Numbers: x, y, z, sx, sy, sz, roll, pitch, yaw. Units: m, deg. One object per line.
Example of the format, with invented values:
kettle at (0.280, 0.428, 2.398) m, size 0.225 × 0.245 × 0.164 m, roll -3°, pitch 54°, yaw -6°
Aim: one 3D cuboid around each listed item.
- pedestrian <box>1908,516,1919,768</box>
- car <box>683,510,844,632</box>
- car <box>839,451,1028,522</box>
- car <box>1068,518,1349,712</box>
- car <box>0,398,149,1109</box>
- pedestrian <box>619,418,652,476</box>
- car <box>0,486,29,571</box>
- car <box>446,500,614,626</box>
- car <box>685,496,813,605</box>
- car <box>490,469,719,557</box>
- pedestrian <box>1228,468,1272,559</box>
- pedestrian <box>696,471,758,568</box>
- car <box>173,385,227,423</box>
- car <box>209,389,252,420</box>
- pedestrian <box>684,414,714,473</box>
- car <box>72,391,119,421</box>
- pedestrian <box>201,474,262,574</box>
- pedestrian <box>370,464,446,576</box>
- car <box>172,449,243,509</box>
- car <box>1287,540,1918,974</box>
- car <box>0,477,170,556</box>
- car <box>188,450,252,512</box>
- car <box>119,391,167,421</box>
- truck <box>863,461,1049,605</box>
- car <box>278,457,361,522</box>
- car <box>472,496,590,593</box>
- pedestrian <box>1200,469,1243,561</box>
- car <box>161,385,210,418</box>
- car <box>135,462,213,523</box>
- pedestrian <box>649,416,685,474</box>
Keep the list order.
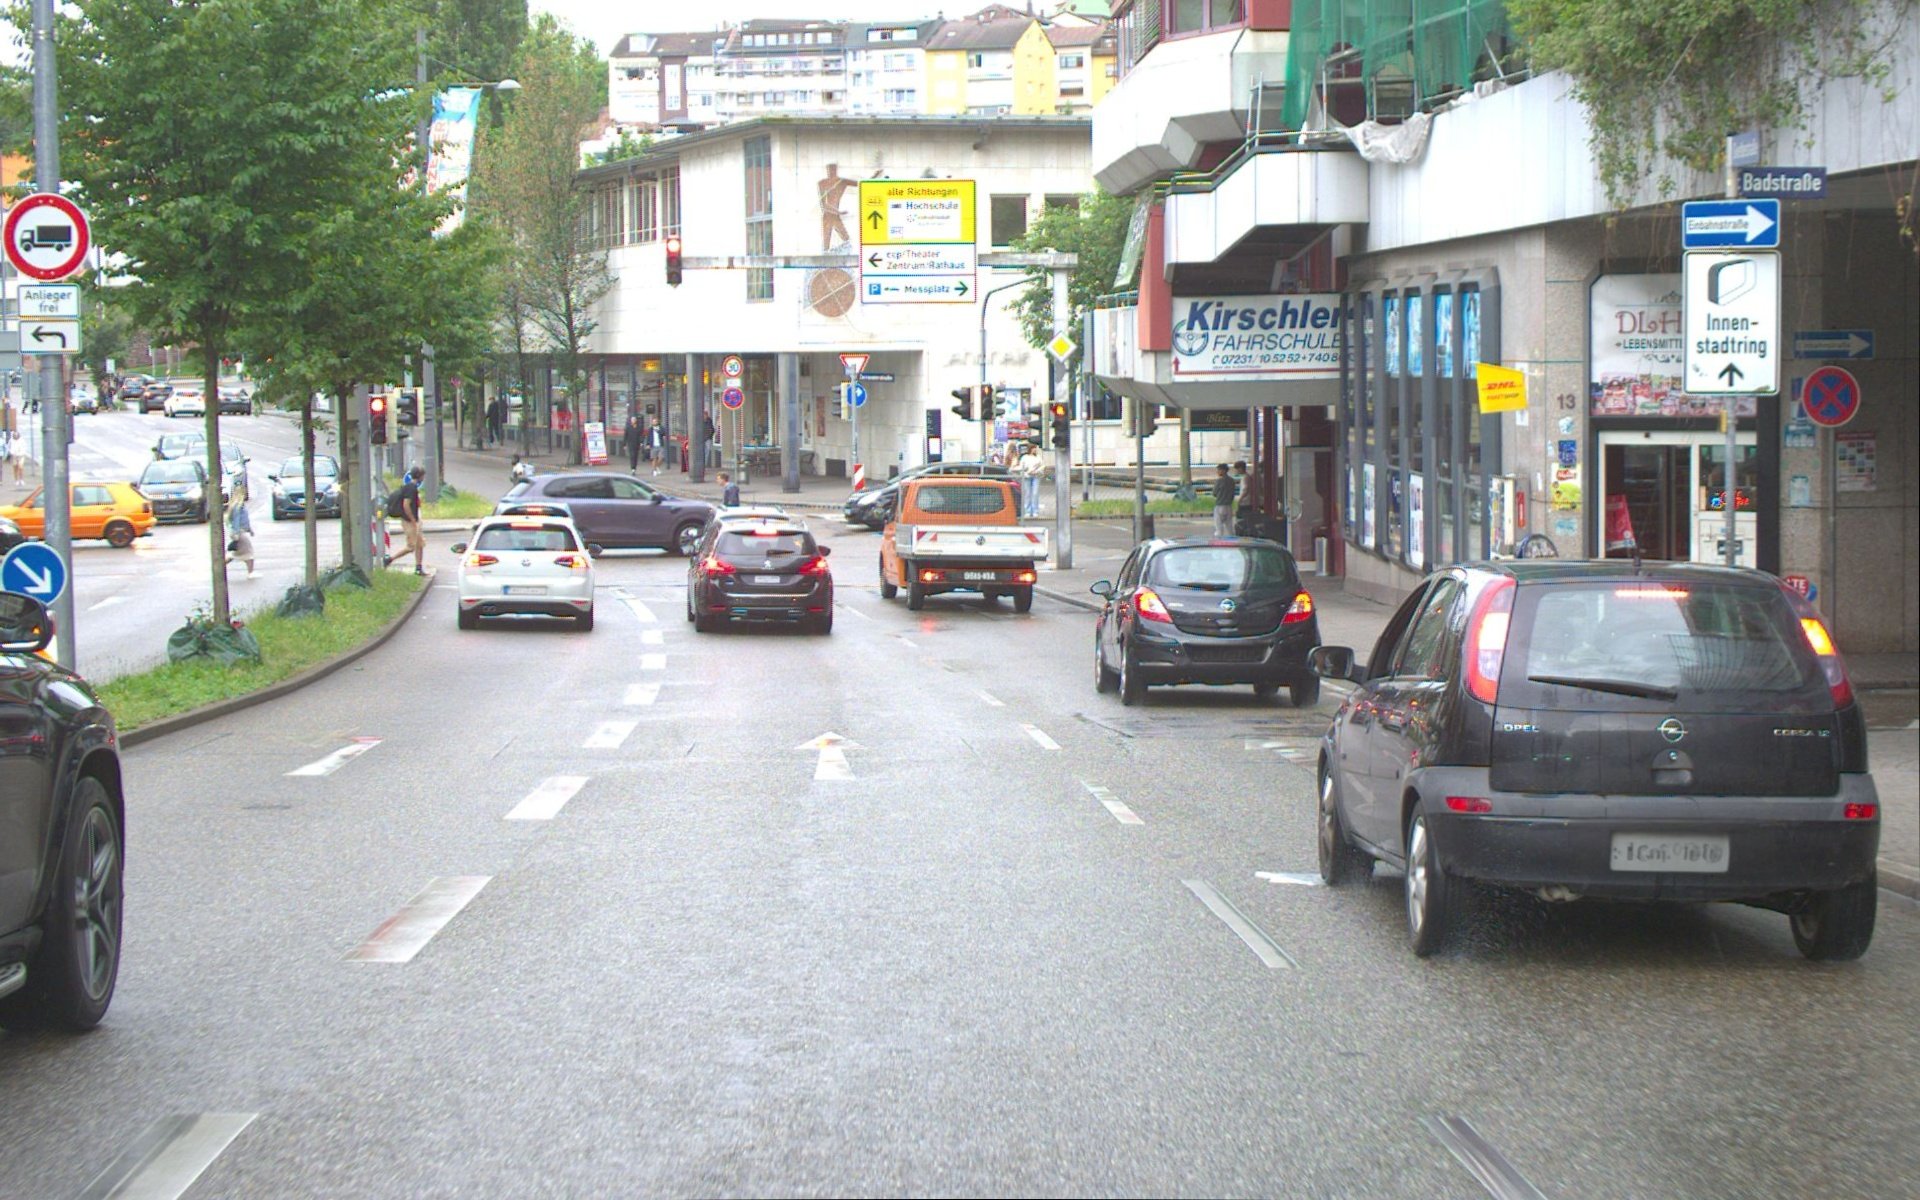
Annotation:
pedestrian at (6.644, 0.257, 22.472) m, size 0.642 × 1.644 × 0.561 m, roll -2°, pitch 1°, yaw 39°
car at (-2.645, -0.418, 45.508) m, size 1.811 × 1.436 × 4.001 m, roll 1°, pitch 2°, yaw -8°
car at (-0.569, -2.497, 75.803) m, size 3.988 × 1.522 × 1.847 m, roll 0°, pitch 2°, yaw 5°
car at (2.138, 0.075, 30.661) m, size 1.949 × 1.568 × 4.001 m, roll 0°, pitch 2°, yaw -4°
car at (-3.444, 0.386, 8.151) m, size 2.087 × 1.810 × 4.793 m, roll 1°, pitch 2°, yaw -3°
pedestrian at (-10.258, -4.835, 108.689) m, size 0.798 × 1.796 × 0.918 m, roll -2°, pitch 2°, yaw -18°
car at (-20.473, -1.416, 66.477) m, size 4.681 × 1.638 × 1.787 m, roll 0°, pitch 1°, yaw -18°
car at (-5.642, -0.527, 45.529) m, size 1.949 × 1.568 × 4.001 m, roll 0°, pitch 2°, yaw -4°
car at (-3.296, -0.797, 53.090) m, size 1.760 × 1.537 × 4.001 m, roll 0°, pitch 3°, yaw -6°
car at (-6.912, -1.694, 66.756) m, size 4.147 × 1.652 × 1.842 m, roll -1°, pitch 1°, yaw -15°
pedestrian at (5.464, -1.635, 64.875) m, size 0.575 × 1.694 × 0.651 m, roll -2°, pitch 2°, yaw -18°
pedestrian at (-4.225, -1.471, 62.386) m, size 1.010 × 1.716 × 0.838 m, roll -2°, pitch 2°, yaw 1°
car at (-41.868, -10.771, 189.308) m, size 1.993 × 2.006 × 4.001 m, roll -1°, pitch 2°, yaw -26°
car at (-38.733, -10.361, 182.435) m, size 1.831 × 1.583 × 3.875 m, roll -1°, pitch 2°, yaw -18°
pedestrian at (-8.257, -4.944, 108.668) m, size 0.702 × 1.796 × 0.939 m, roll -2°, pitch 2°, yaw -18°
car at (-46.880, -10.509, 186.435) m, size 1.748 × 1.549 × 3.570 m, roll -1°, pitch 2°, yaw -26°
pedestrian at (-12.701, -1.330, 59.955) m, size 0.835 × 1.716 × 0.819 m, roll -2°, pitch 2°, yaw -1°
pedestrian at (-9.414, -1.368, 58.675) m, size 1.063 × 1.875 × 0.838 m, roll -2°, pitch 2°, yaw 3°
car at (-19.939, -3.191, 91.131) m, size 1.777 × 1.543 × 4.001 m, roll -1°, pitch 2°, yaw -12°
car at (2.333, 0.496, 13.412) m, size 1.717 × 1.415 × 3.770 m, roll 0°, pitch 1°, yaw 0°
car at (-18.657, -1.752, 72.128) m, size 3.995 × 1.611 × 1.776 m, roll -1°, pitch 1°, yaw -15°
car at (-21.058, -3.371, 97.787) m, size 1.705 × 1.714 × 4.001 m, roll -1°, pitch 2°, yaw -12°
car at (-44.573, -10.559, 187.485) m, size 1.748 × 1.549 × 3.570 m, roll -1°, pitch 2°, yaw -26°
truck at (-0.127, -1.058, 52.488) m, size 2.183 × 2.075 × 5.605 m, roll -1°, pitch 2°, yaw -7°
car at (-15.760, -2.725, 84.701) m, size 1.819 × 1.543 × 4.001 m, roll -1°, pitch 2°, yaw -8°
car at (-6.819, -0.913, 54.796) m, size 1.794 × 1.463 × 4.001 m, roll 0°, pitch 2°, yaw -7°
pedestrian at (4.905, -1.600, 64.511) m, size 0.575 × 1.694 × 0.651 m, roll -2°, pitch 2°, yaw -13°
car at (-39.633, -10.147, 175.908) m, size 1.993 × 1.590 × 4.001 m, roll -1°, pitch 2°, yaw -19°
car at (-19.071, -2.619, 83.531) m, size 1.706 × 1.446 × 3.863 m, roll -1°, pitch 2°, yaw -11°
pedestrian at (-9.213, -4.868, 108.167) m, size 0.846 × 1.796 × 1.056 m, roll -2°, pitch 2°, yaw -18°
